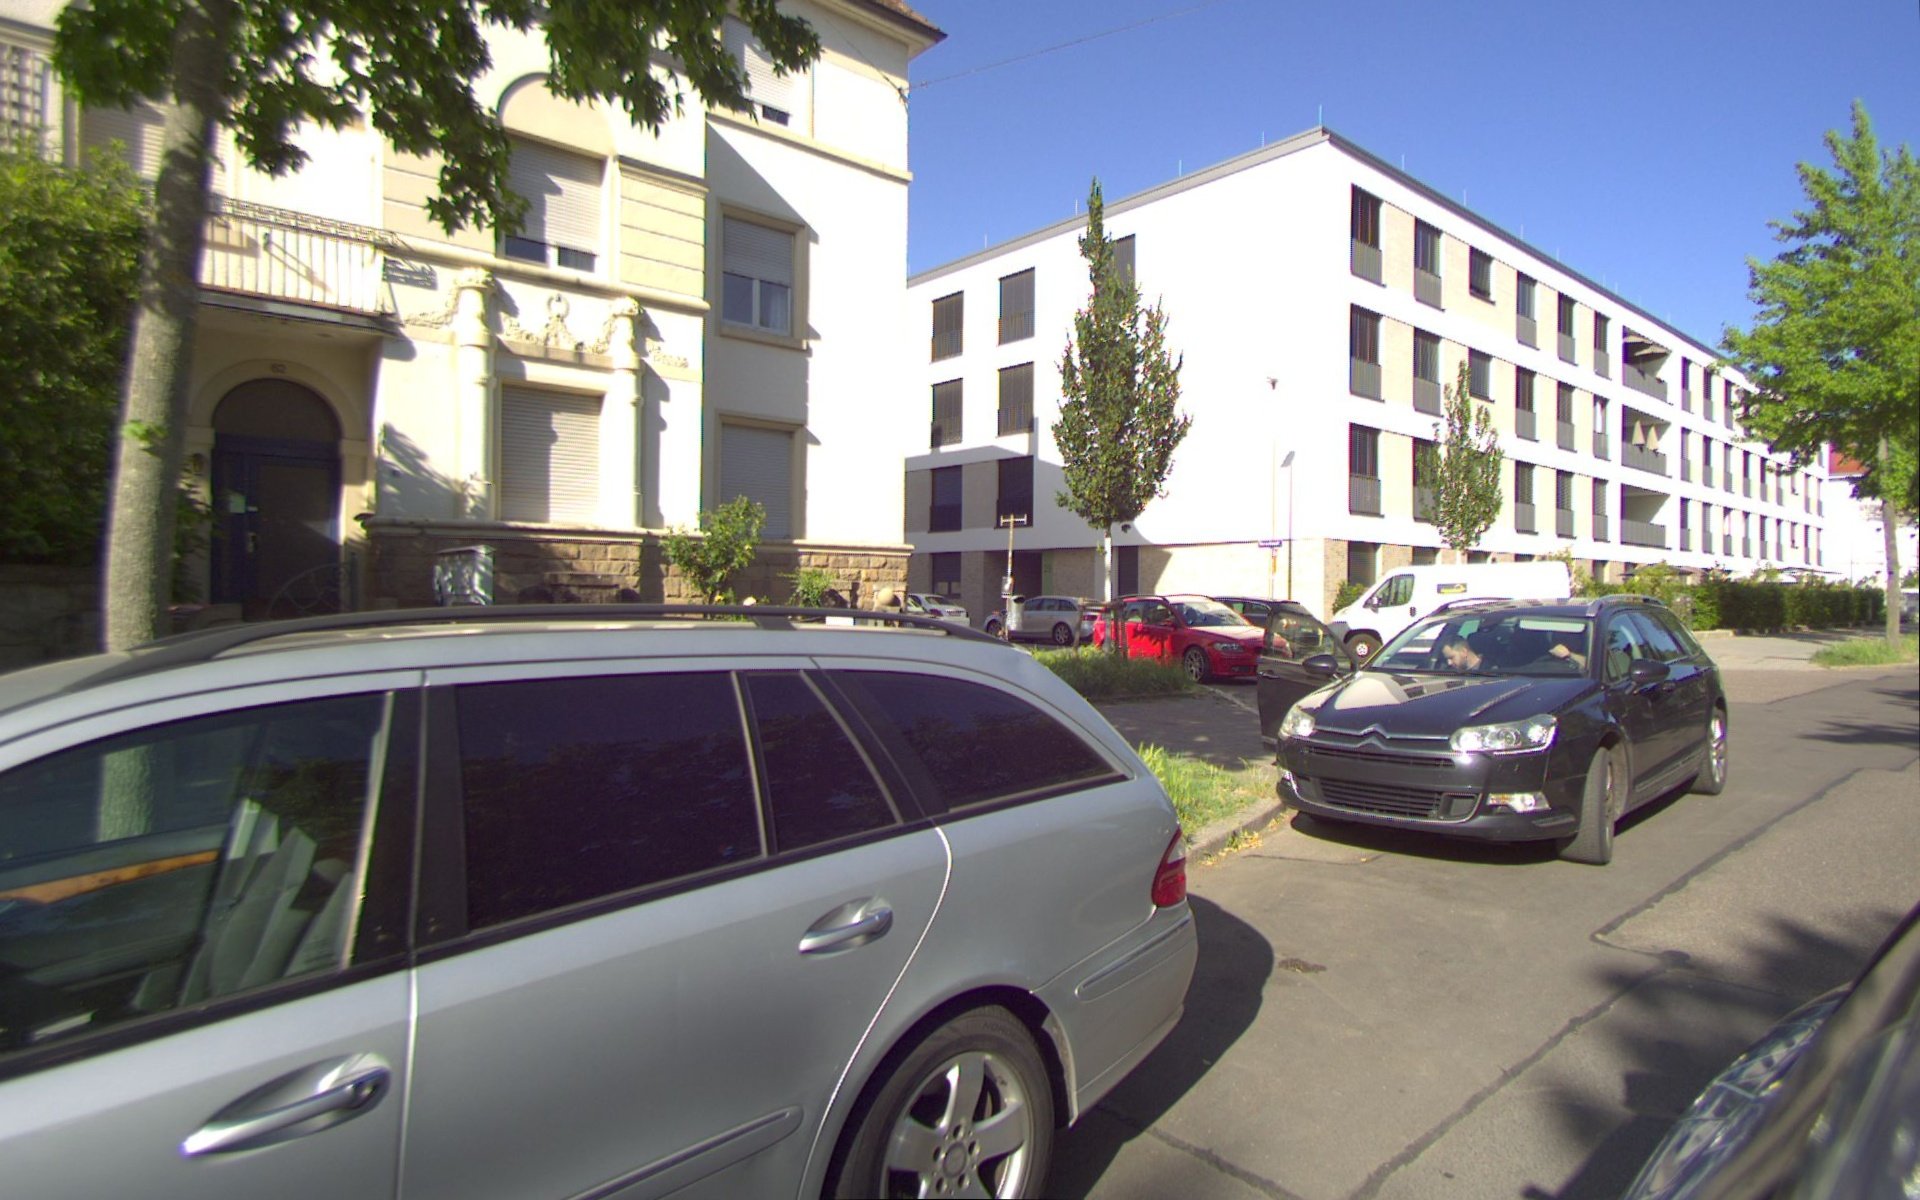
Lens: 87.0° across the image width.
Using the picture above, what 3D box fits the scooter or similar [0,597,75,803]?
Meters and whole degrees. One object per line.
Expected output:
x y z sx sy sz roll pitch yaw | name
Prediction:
-6.059 0.584 5.966 1.180 1.200 0.403 1 0 -25 | scooter or similar

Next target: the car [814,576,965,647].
-1.916 0.234 26.366 1.802 1.661 4.179 0 1 -41 | car

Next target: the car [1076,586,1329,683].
4.171 0.498 18.308 1.913 1.488 4.742 0 1 -25 | car

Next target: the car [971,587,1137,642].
2.685 0.392 29.995 1.926 1.447 4.937 2 -1 -40 | car

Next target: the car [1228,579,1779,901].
4.136 0.642 7.246 4.881 1.543 1.898 -1 1 -41 | car

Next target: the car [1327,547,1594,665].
10.857 0.057 22.249 5.009 2.335 2.213 1 1 28 | car

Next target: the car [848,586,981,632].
-1.659 0.286 35.009 1.932 1.488 4.934 0 0 -42 | car

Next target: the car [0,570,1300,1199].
-1.441 0.720 1.985 4.824 1.488 1.824 0 -1 -41 | car

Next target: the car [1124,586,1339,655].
6.691 0.437 25.407 2.012 1.488 4.936 0 1 -41 | car
